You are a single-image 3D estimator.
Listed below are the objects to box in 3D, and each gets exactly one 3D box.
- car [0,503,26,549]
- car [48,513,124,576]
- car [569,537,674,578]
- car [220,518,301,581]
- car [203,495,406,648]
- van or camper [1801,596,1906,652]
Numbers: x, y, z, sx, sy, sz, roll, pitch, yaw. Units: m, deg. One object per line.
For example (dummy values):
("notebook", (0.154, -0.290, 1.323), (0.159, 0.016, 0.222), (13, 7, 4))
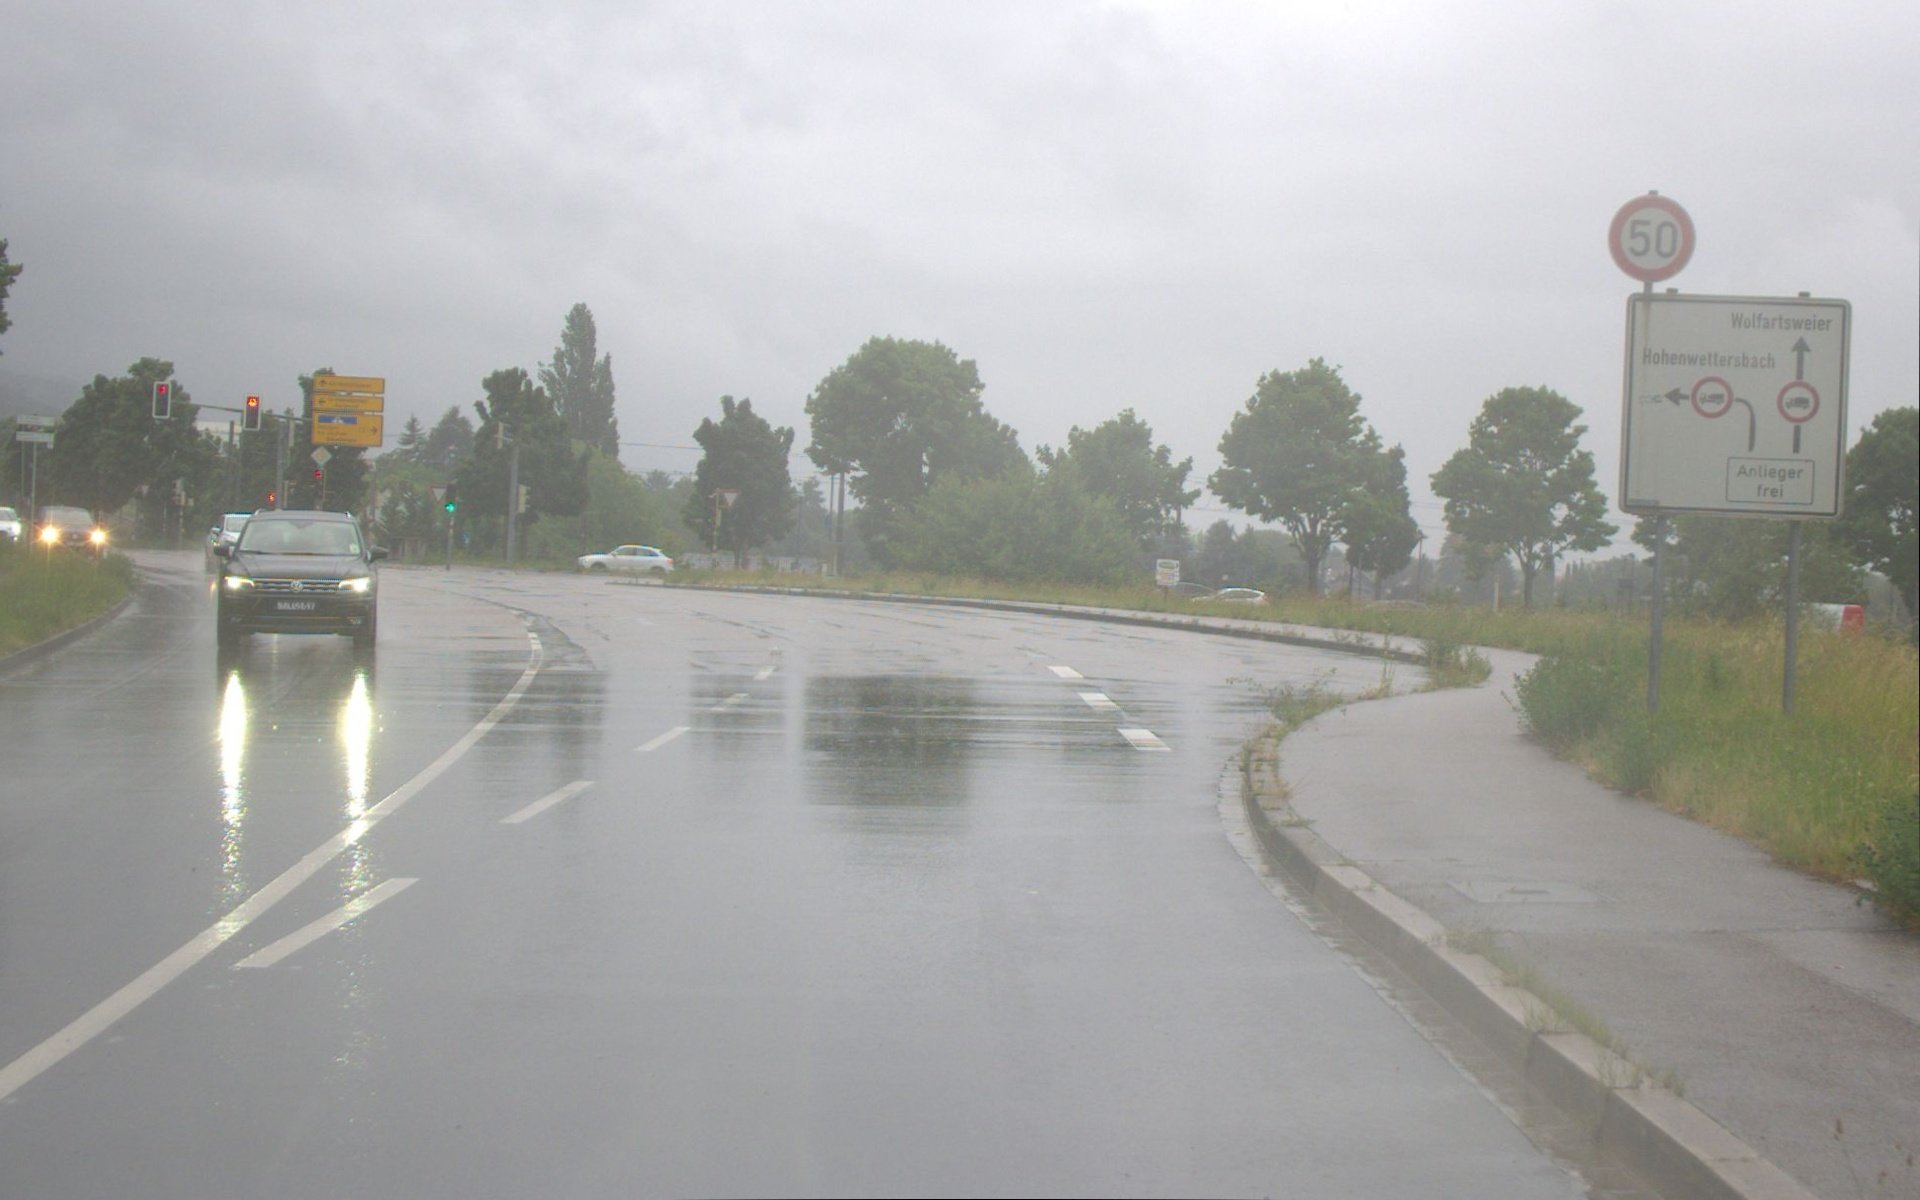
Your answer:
("car", (-33.841, -2.611, 120.521), (1.878, 1.568, 4.646), (1, 1, -18))
("car", (-24.370, -1.561, 95.973), (1.883, 1.582, 4.120), (4, 0, -14))
("car", (-15.057, -1.887, 152.732), (4.374, 1.574, 1.733), (3, 1, -13))
("car", (-17.307, -1.261, 85.193), (1.739, 1.482, 4.012), (1, 1, -9))
("car", (-7.944, -0.375, 41.996), (1.924, 1.737, 4.289), (1, 1, -4))
("van or camper", (43.575, 1.156, 167.799), (4.683, 2.347, 2.015), (5, 1, 12))
